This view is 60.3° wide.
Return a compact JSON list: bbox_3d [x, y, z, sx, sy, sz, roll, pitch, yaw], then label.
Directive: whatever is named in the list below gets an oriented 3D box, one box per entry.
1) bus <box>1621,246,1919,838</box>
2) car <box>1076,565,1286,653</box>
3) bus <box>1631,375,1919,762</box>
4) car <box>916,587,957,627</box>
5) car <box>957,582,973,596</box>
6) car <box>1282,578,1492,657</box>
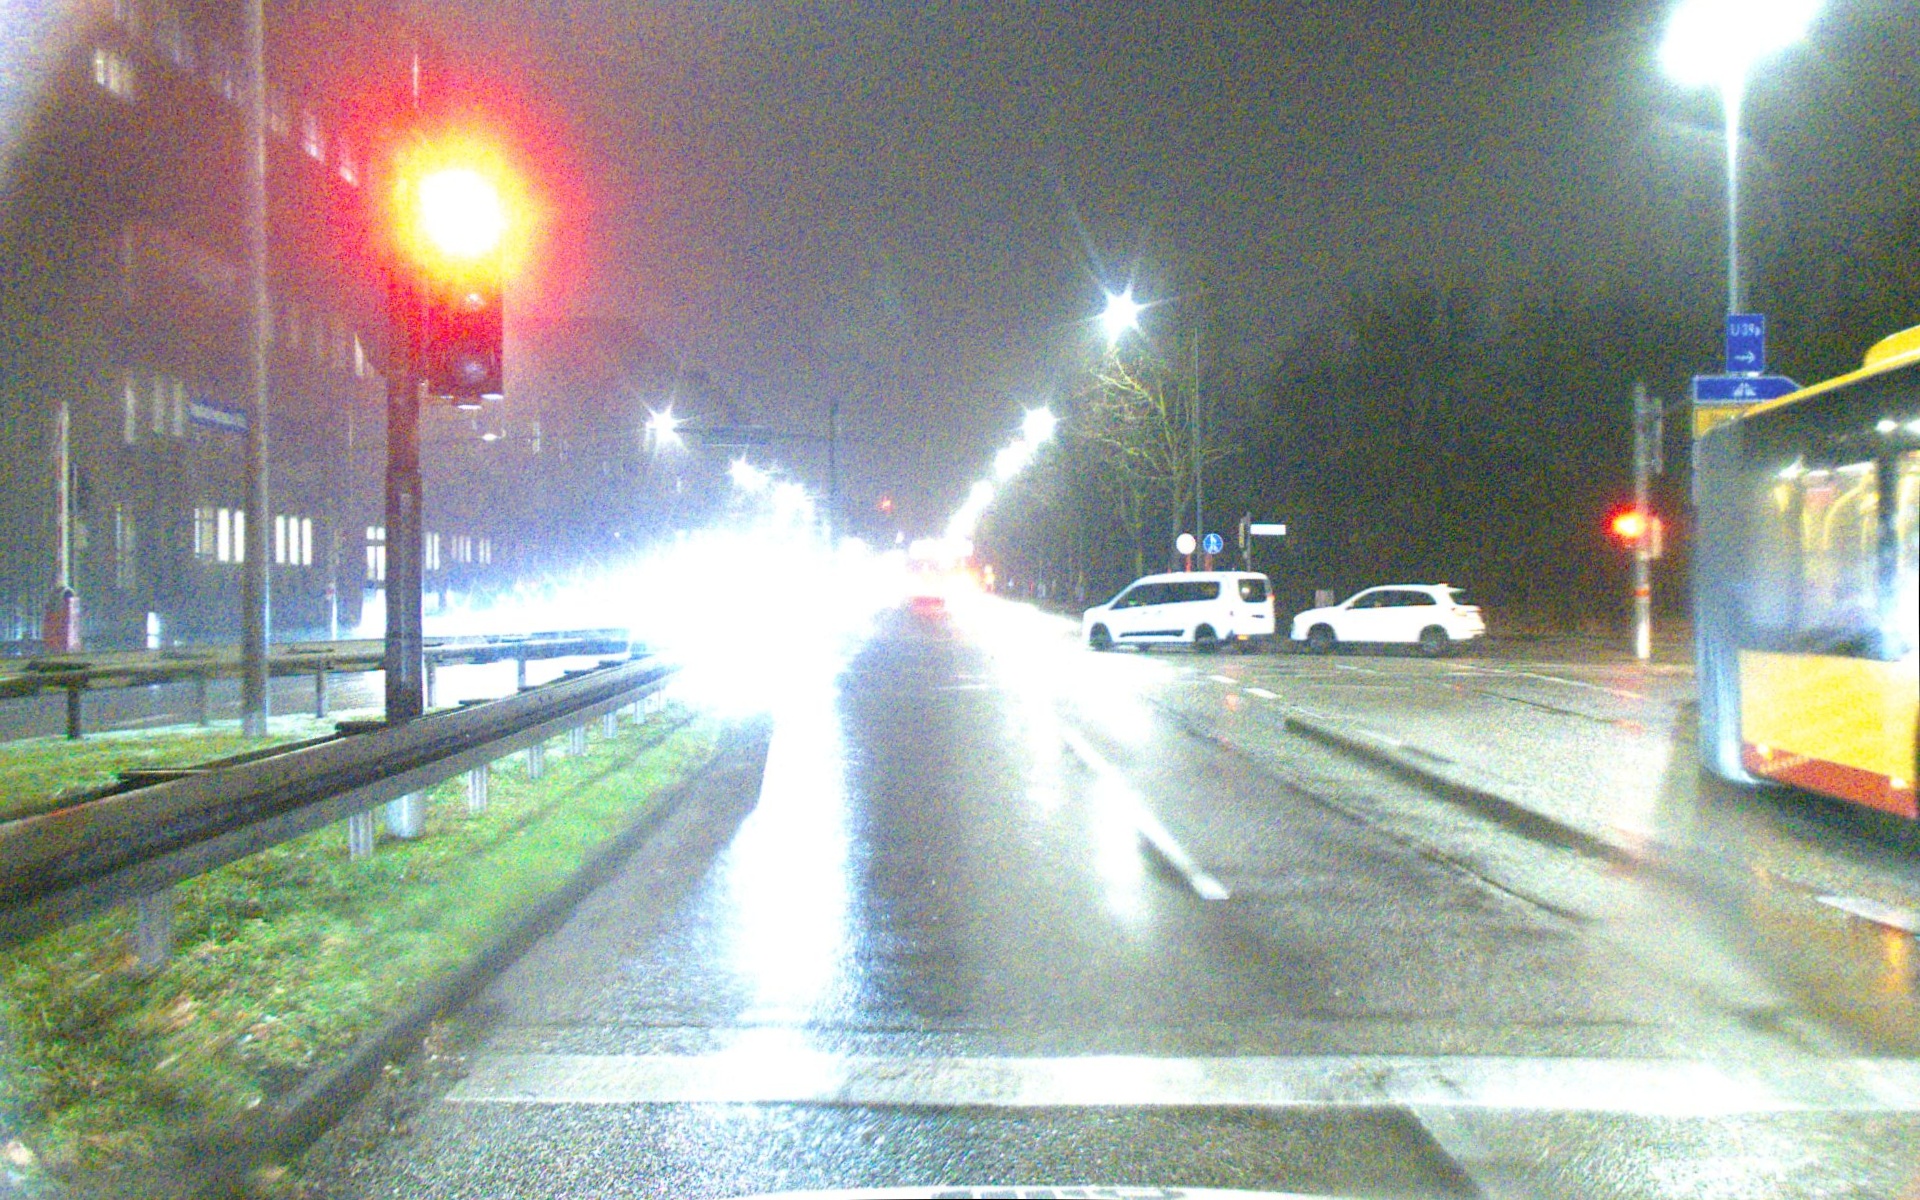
[{"bbox_3d":[6.625,-0.301,9.714,2.710,3.178,9.770,1,0,7],"label":"bus"},{"bbox_3d":[4.984,0.183,37.721,4.544,1.907,1.786,1,0,42],"label":"car"},{"bbox_3d":[9.398,-0.271,18.288,2.716,3.178,9.749,1,0,28],"label":"bus"},{"bbox_3d":[-1.323,0.384,94.181,2.090,2.182,4.929,1,0,2],"label":"car"},{"bbox_3d":[0.640,-1.517,220.908,1.953,1.790,3.999,1,0,-1],"label":"car"},{"bbox_3d":[9.771,0.377,37.896,4.333,1.708,1.793,1,0,31],"label":"car"}]
